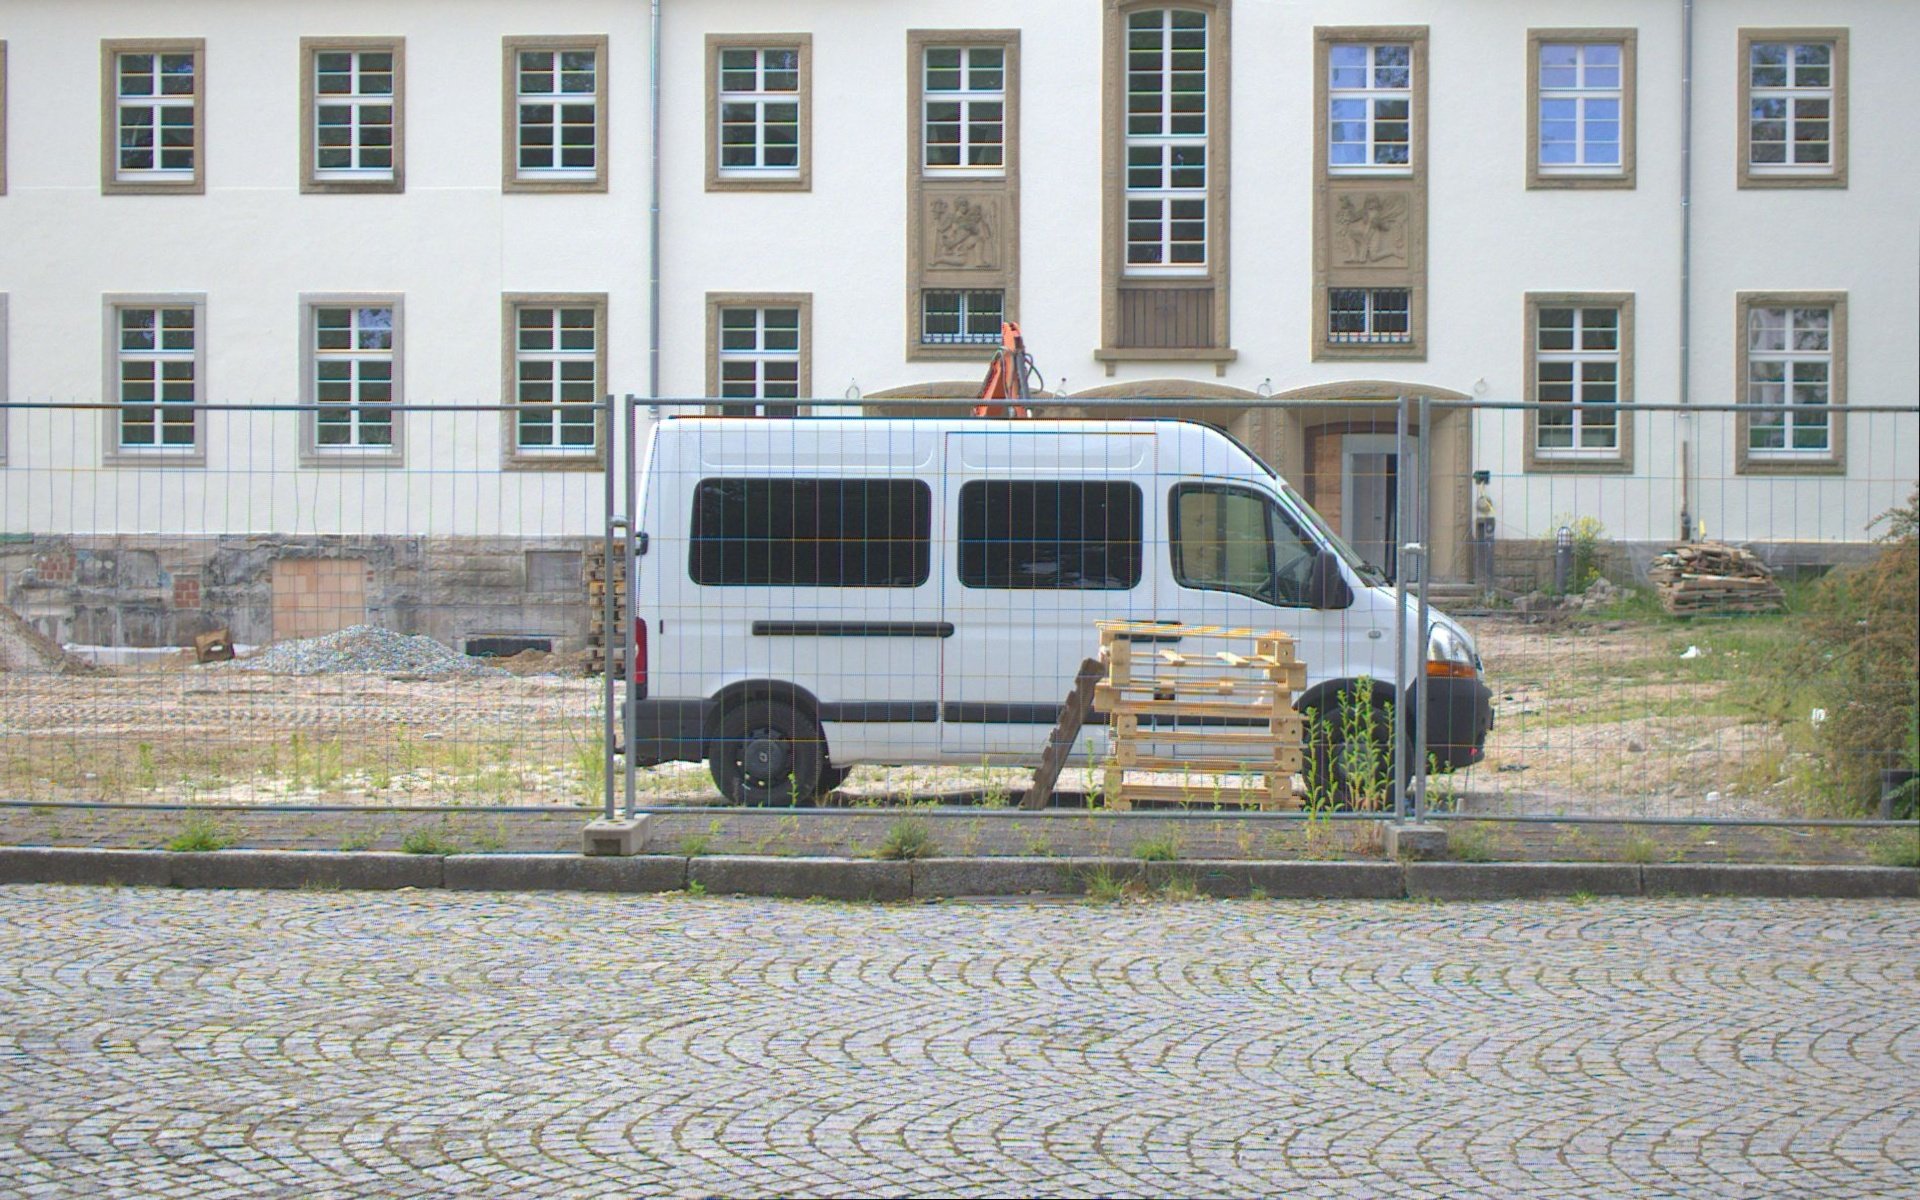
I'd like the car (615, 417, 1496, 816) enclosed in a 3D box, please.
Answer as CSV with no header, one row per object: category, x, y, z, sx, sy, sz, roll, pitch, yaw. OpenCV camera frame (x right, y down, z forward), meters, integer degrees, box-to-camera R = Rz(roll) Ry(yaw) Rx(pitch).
car,0.626,0.063,21.541,5.264,2.336,1.910,1,1,5

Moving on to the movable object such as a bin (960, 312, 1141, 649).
movable object such as a bin,1.026,-1.391,41.199,1.993,3.758,5.318,1,1,0
